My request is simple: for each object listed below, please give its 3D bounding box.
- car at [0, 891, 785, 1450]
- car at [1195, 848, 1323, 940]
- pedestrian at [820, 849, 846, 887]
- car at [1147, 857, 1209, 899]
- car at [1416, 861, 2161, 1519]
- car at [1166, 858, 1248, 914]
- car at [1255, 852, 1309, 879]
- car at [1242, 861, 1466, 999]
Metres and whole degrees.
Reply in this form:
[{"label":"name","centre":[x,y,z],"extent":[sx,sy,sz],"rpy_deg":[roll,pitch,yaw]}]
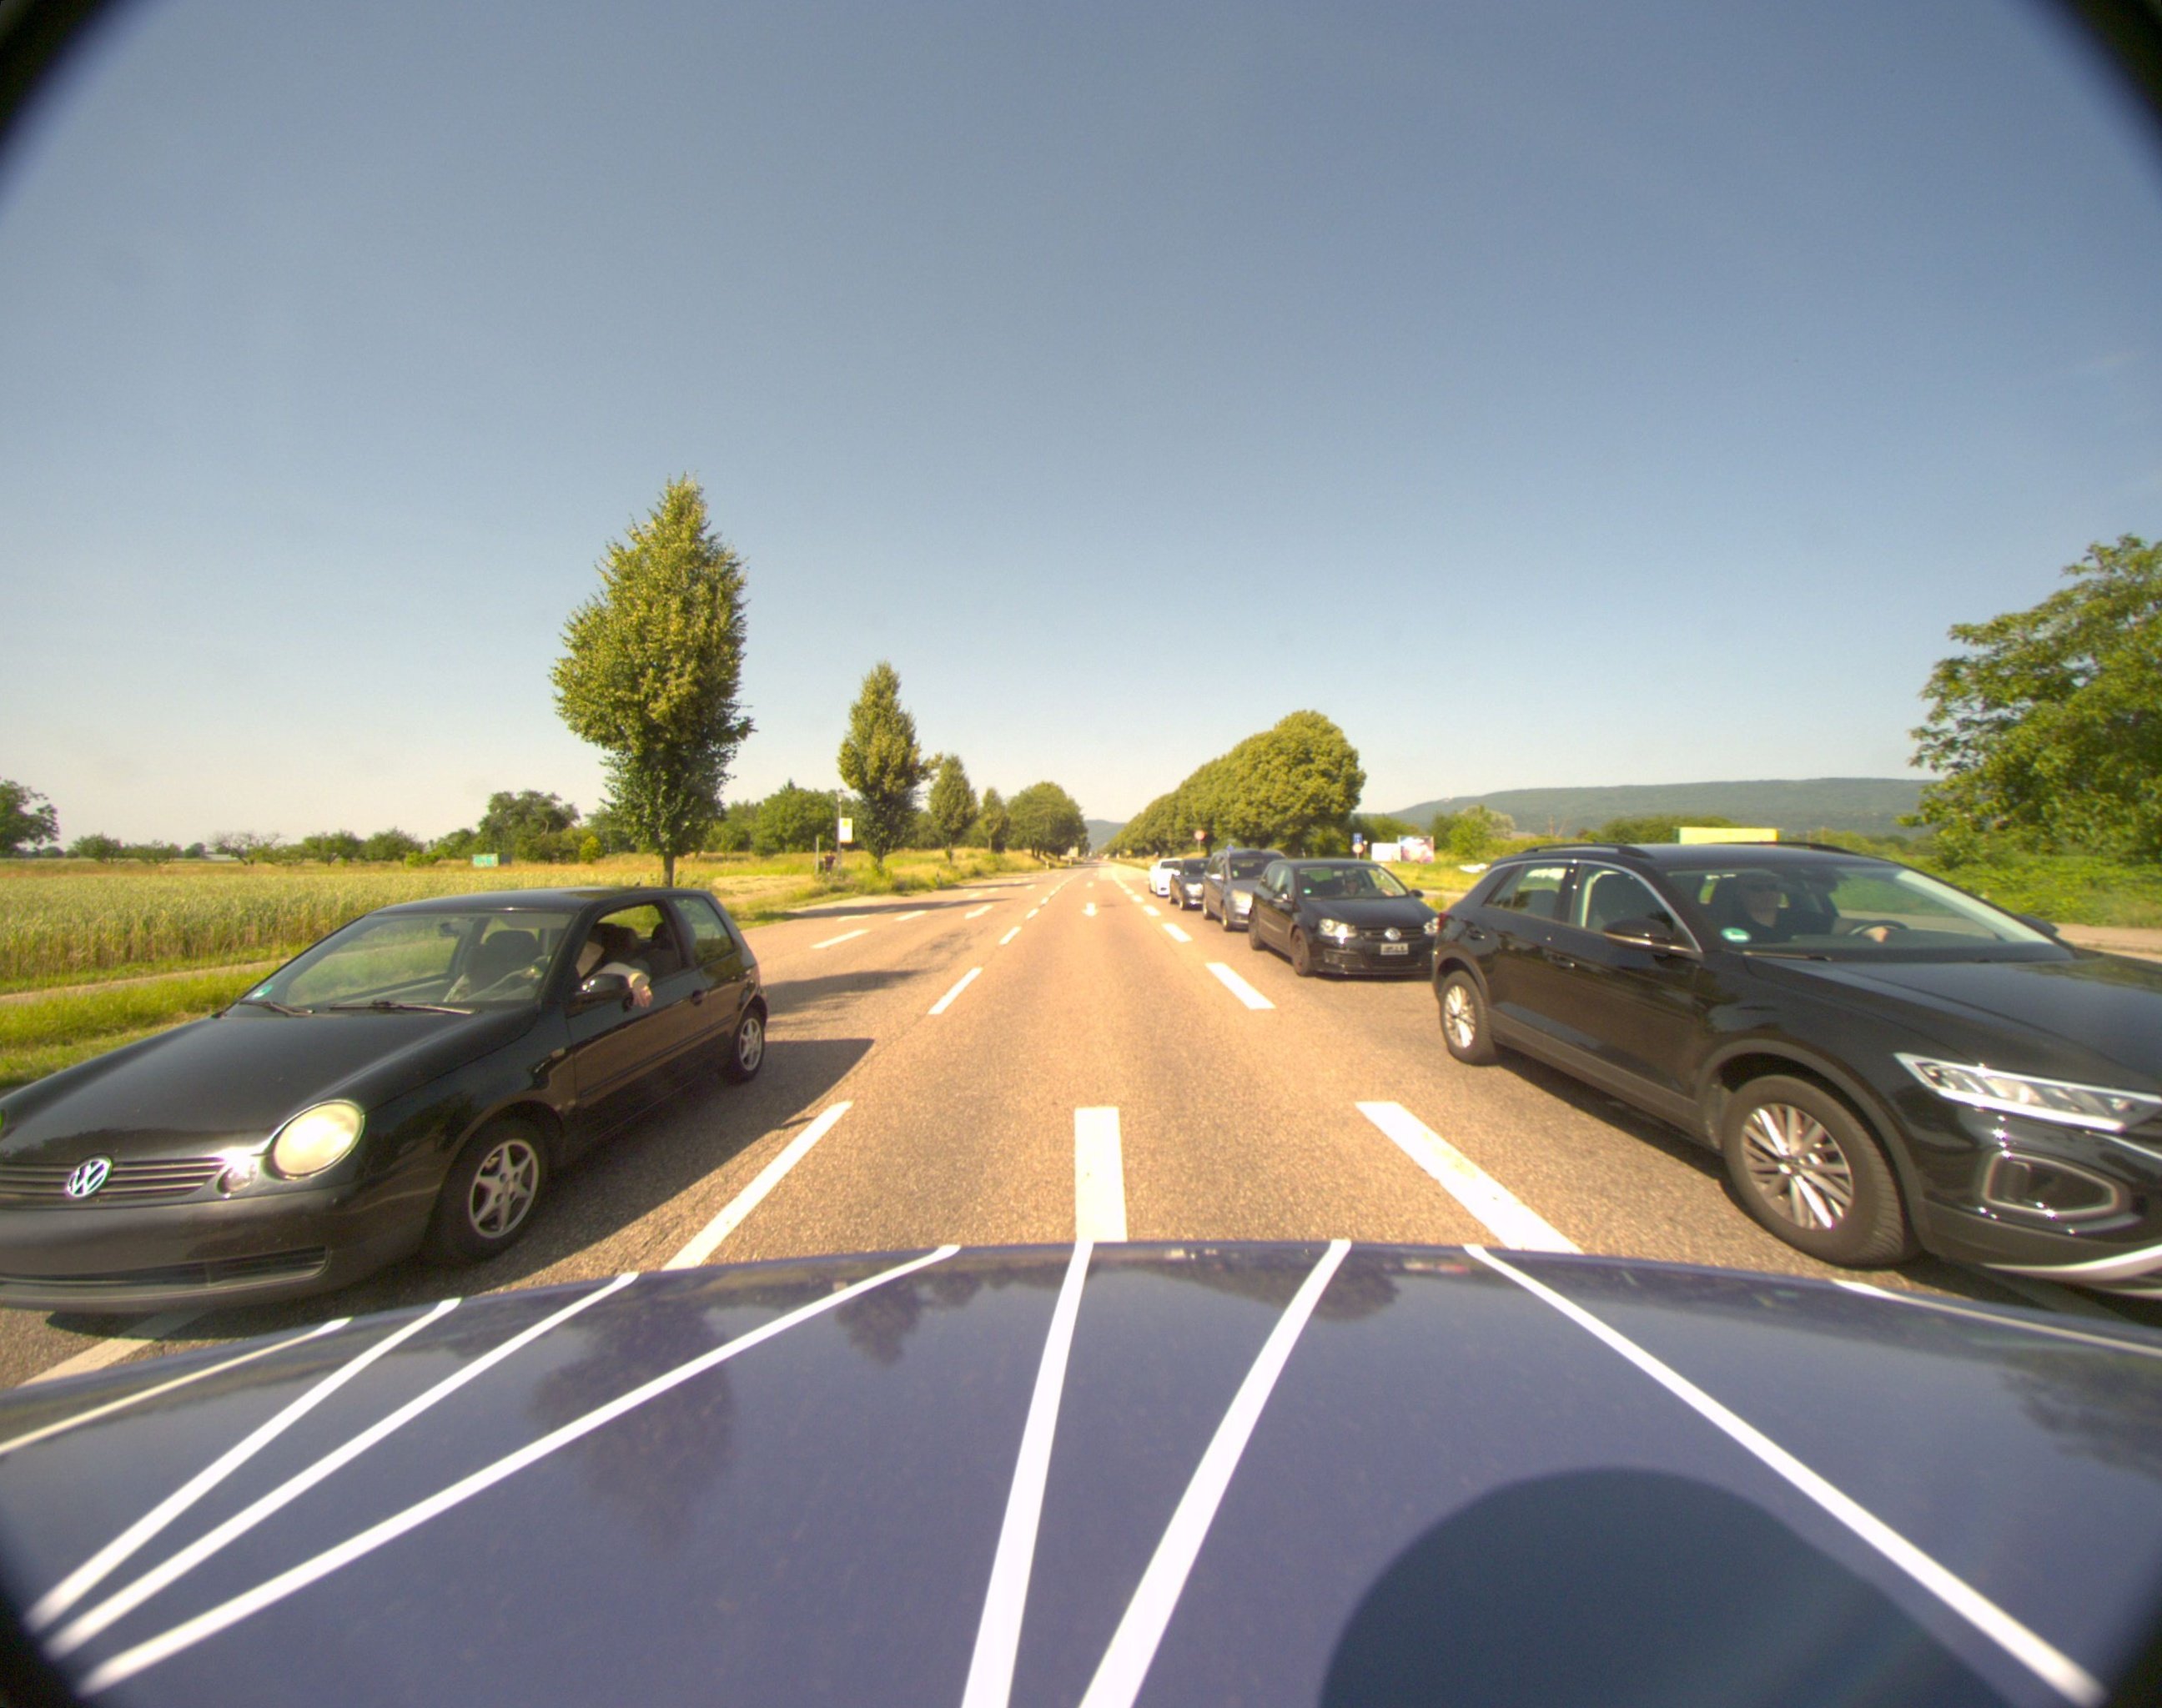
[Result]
[{"label":"car","centre":[-3.113,1.024,4.023],"extent":[1.629,1.425,3.622],"rpy_deg":[-2,0,0]},{"label":"car","centre":[3.618,0.746,16.239],"extent":[1.745,1.662,4.357],"rpy_deg":[-1,0,1]},{"label":"pedestrian","centre":[-12.279,0.695,37.609],"extent":[0.904,1.828,1.194],"rpy_deg":[0,0,-1]},{"label":"car","centre":[3.635,0.867,29.157],"extent":[1.808,1.417,4.641],"rpy_deg":[-1,0,1]},{"label":"car","centre":[3.455,0.838,3.880],"extent":[1.733,1.538,4.098],"rpy_deg":[-1,0,1]},{"label":"car","centre":[3.568,0.867,22.231],"extent":[1.719,1.402,4.355],"rpy_deg":[-1,0,1]},{"label":"car","centre":[12.093,0.668,45.956],"extent":[1.888,1.506,4.146],"rpy_deg":[2,0,-3]},{"label":"car","centre":[3.470,0.869,10.485],"extent":[1.670,1.466,4.098],"rpy_deg":[-1,0,1]}]
